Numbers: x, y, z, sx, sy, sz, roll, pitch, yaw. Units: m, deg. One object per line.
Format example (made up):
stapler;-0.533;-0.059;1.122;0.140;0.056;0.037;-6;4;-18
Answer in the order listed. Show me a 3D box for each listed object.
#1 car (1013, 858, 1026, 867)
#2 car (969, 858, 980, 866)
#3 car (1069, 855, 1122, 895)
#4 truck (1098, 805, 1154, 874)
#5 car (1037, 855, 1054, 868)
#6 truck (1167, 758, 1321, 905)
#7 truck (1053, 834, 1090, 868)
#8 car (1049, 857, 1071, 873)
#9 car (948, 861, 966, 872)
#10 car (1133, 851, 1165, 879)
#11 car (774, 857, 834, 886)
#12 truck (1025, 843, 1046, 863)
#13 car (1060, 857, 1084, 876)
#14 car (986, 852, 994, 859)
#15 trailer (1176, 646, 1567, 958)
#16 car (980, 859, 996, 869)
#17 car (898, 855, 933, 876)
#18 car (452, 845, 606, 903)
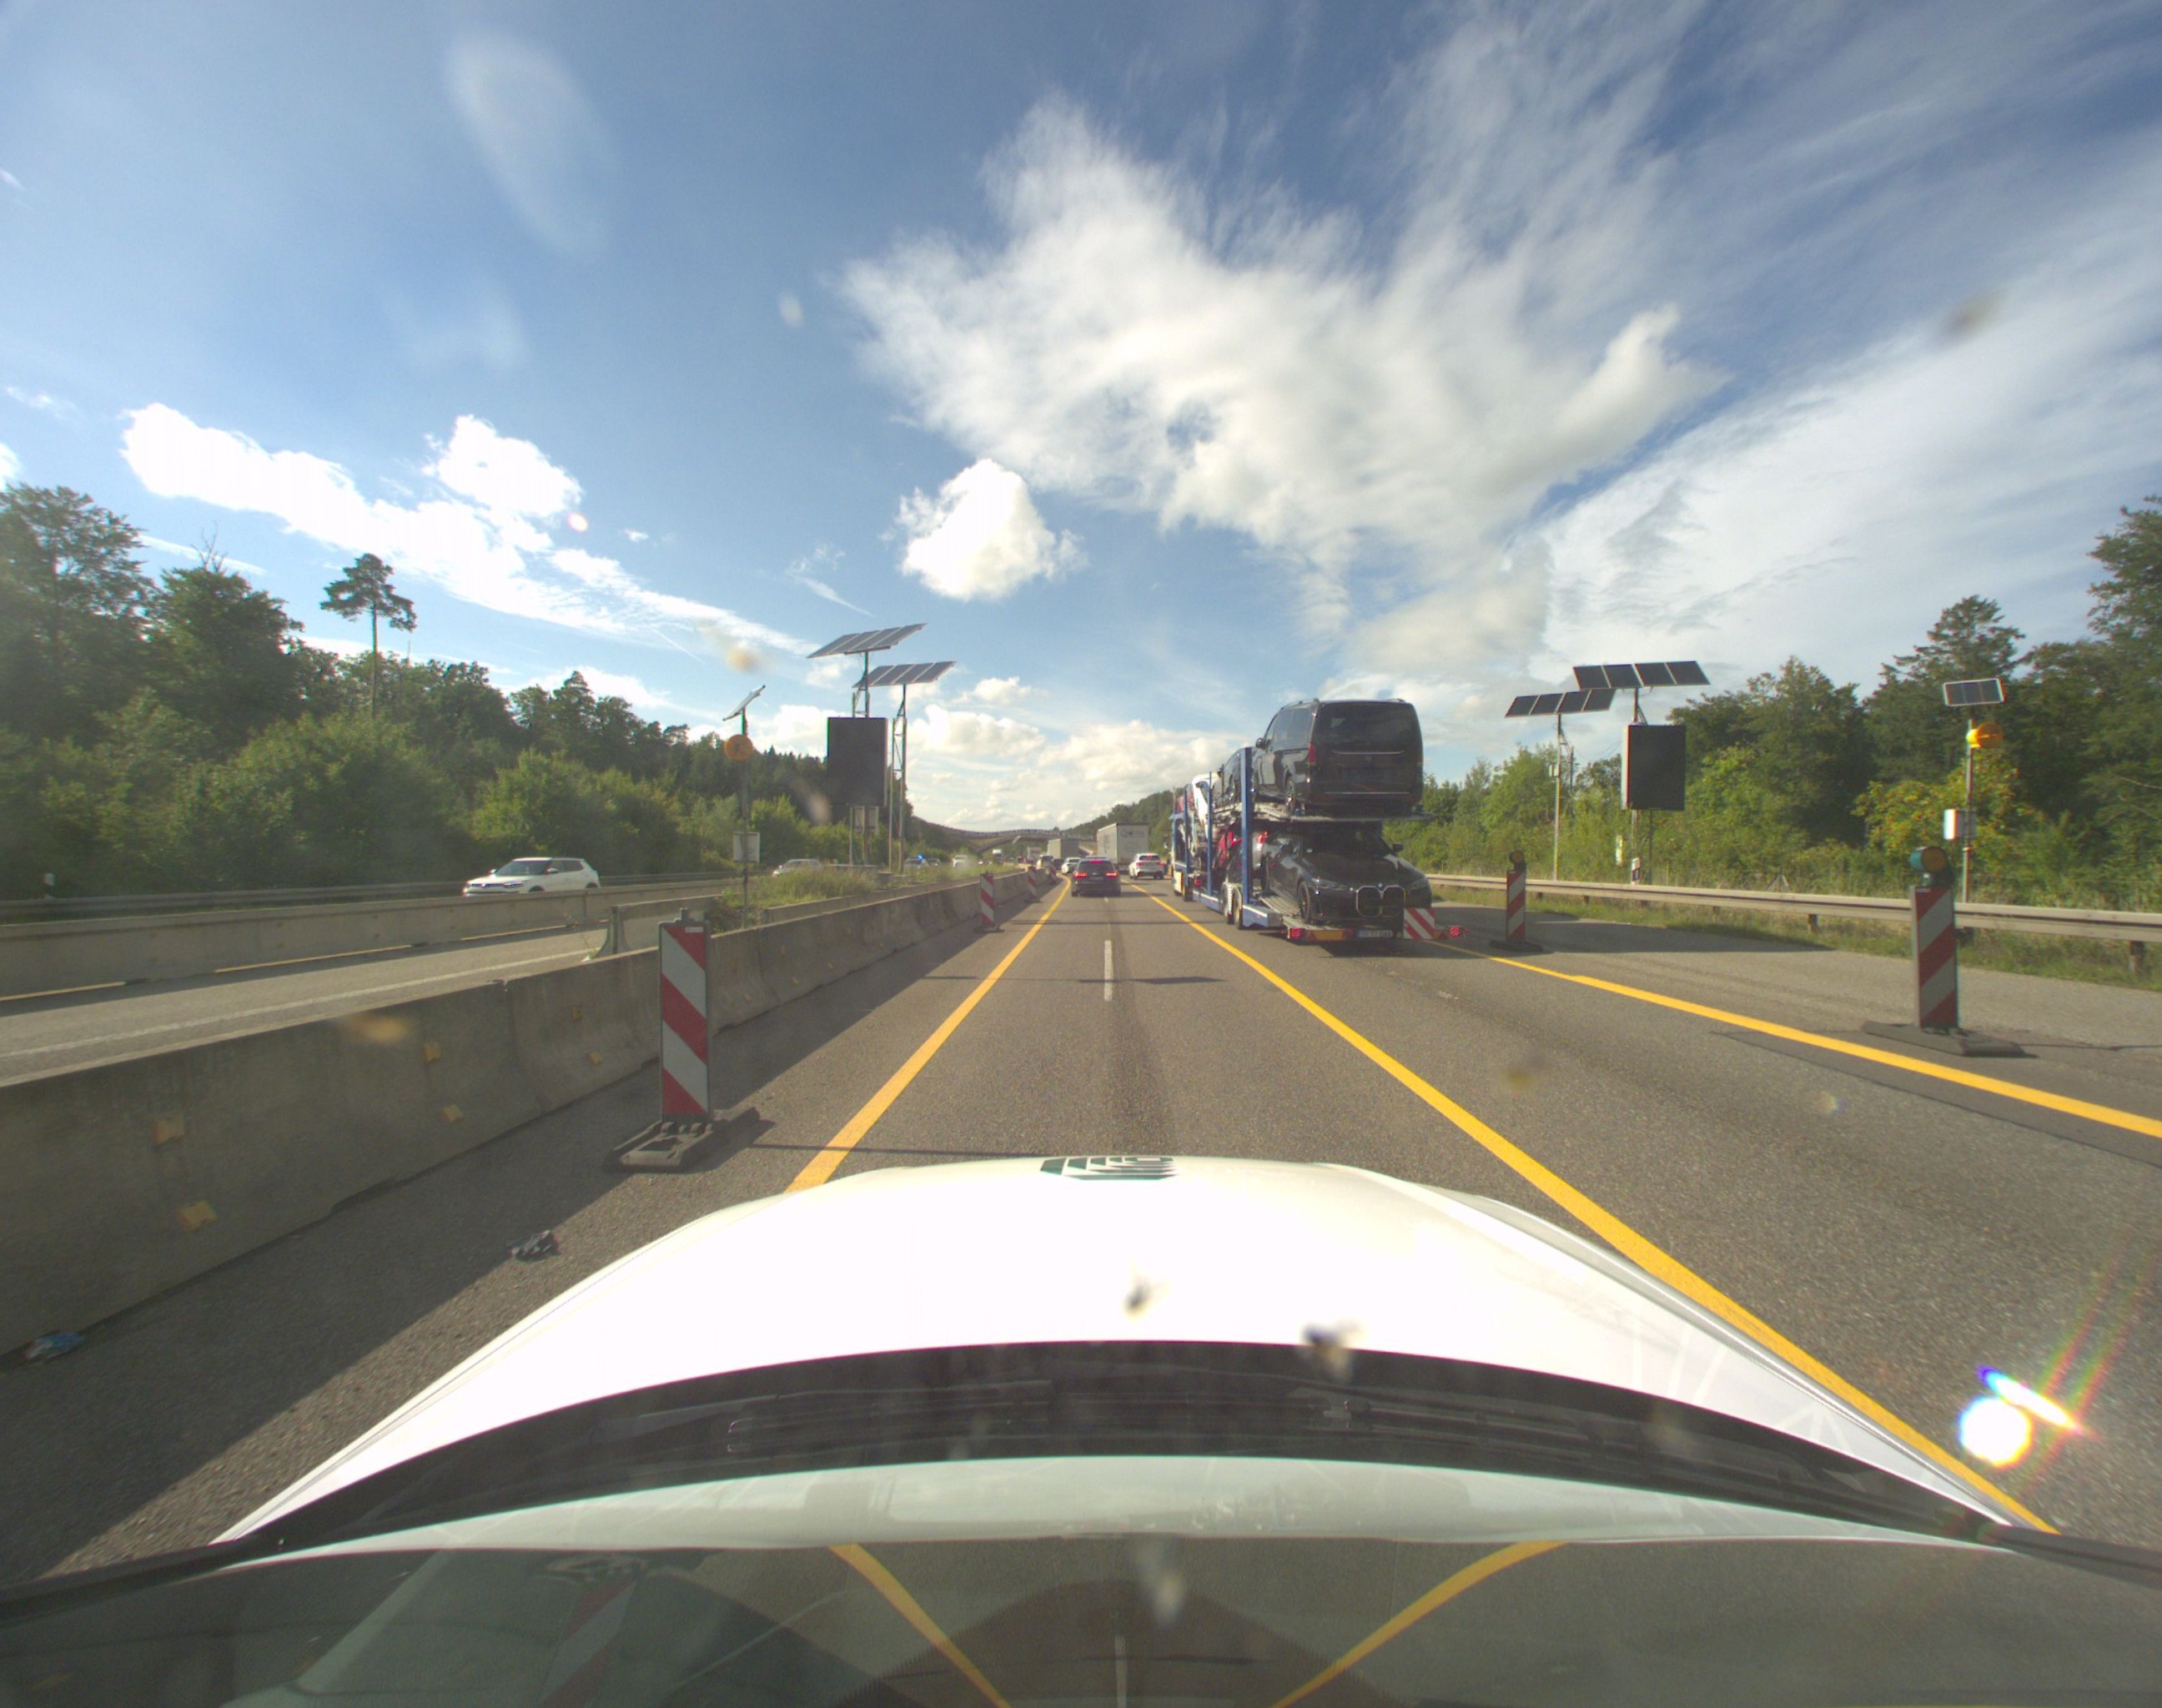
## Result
car;-10.726;1.463;140.900;1.779;1.602;4.002;0;0;-11
car;-21.678;1.614;165.390;1.964;1.602;4.940;0;0;-4
car;0.623;0.779;31.694;1.882;1.446;4.003;-1;0;3
truck;3.693;-1.076;71.540;3.667;5.353;16.191;0;0;-1
car;-4.419;0.927;101.017;1.888;1.643;4.008;0;0;-7
truck;5.135;-0.634;27.485;3.748;4.196;7.952;-1;0;1
truck;-1.488;-0.357;115.553;4.314;4.600;11.100;0;0;-6
car;-2.314;1.154;87.625;1.889;1.643;4.006;0;0;-8
car;-18.814;1.864;123.528;1.962;1.602;4.946;-1;0;0
car;4.293;0.681;51.704;1.882;1.643;4.021;-1;0;3
car;-16.461;1.004;48.600;1.770;1.602;4.680;-1;0;3
truck;-9.789;-0.154;172.971;3.651;3.928;11.039;0;0;-7
car;-0.774;0.993;66.825;1.886;1.446;3.996;0;0;-3
car;-26.994;0.482;241.806;1.775;1.866;3.997;0;0;-2
trailer;4.873;-0.671;19.127;3.713;4.196;16.231;-1;0;1
car;-15.331;1.624;134.497;1.962;1.602;4.946;-1;0;0
car;-12.938;0.890;64.003;1.772;1.602;4.676;-1;0;0
car;-16.514;0.569;24.648;1.770;1.602;4.021;-1;0;3
